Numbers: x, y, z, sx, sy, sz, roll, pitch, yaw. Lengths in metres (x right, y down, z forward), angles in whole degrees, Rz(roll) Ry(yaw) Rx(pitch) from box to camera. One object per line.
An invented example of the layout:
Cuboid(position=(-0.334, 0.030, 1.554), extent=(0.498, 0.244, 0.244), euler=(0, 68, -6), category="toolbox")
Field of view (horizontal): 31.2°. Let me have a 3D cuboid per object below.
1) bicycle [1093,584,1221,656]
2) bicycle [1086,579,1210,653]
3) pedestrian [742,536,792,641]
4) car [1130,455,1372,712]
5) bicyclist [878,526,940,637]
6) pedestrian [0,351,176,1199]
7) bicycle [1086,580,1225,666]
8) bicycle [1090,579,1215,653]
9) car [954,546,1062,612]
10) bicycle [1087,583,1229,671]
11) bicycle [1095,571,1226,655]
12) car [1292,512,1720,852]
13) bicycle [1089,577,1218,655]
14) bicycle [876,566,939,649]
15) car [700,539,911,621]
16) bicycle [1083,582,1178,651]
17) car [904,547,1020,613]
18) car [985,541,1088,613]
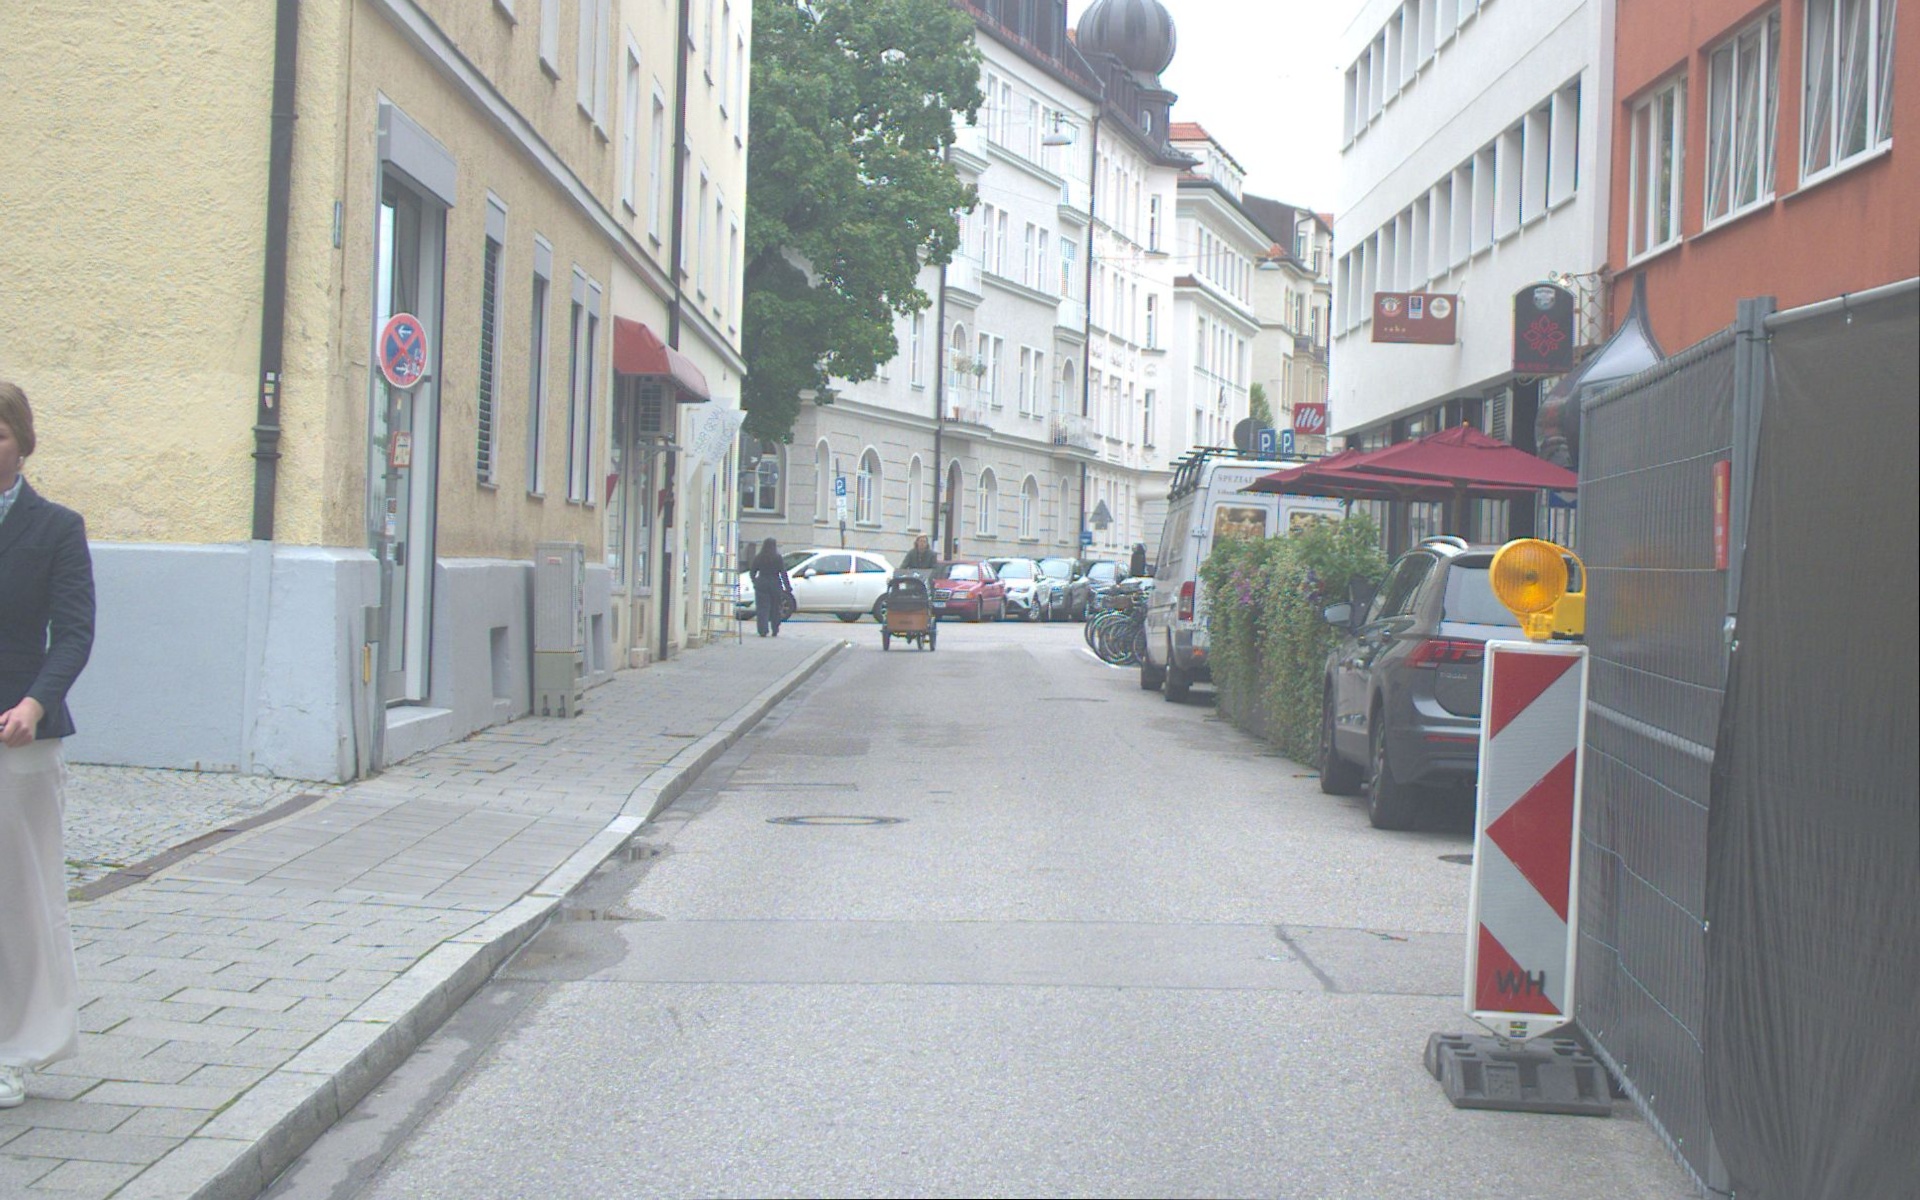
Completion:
Cuboid(position=(3.034, 0.311, 52.941), extent=(1.873, 1.048, 0.564), euler=(2, -1, -3), category="bicycle")
Cuboid(position=(2.956, 0.250, 54.078), extent=(1.873, 1.076, 0.408), euler=(2, 2, -3), category="bicycle")
Cuboid(position=(-3.080, -0.190, 54.933), extent=(0.693, 1.626, 0.663), euler=(3, 0, -1), category="pedestrian")
Cuboid(position=(3.097, -0.213, 37.842), extent=(1.920, 2.497, 5.997), euler=(3, 1, -1), category="car")
Cuboid(position=(-0.805, -0.295, 54.434), extent=(0.926, 1.715, 1.099), euler=(1, 1, 1), category="bicyclist")
Cuboid(position=(-2.332, 0.364, 7.895), extent=(0.775, 1.830, 0.991), euler=(2, 0, -1), category="pedestrian")
Cuboid(position=(2.793, 0.326, 49.134), extent=(1.873, 1.104, 0.488), euler=(4, 2, -2), category="bicycle")
Cuboid(position=(2.994, 0.246, 53.638), extent=(1.873, 1.076, 0.402), euler=(2, 2, -3), category="bicycle")
Cuboid(position=(1.186, -0.497, 82.416), extent=(1.994, 1.468, 4.217), euler=(2, 1, 8), category="car")
Cuboid(position=(2.775, 0.379, 48.217), extent=(1.873, 1.076, 0.488), euler=(4, 2, -2), category="bicycle")
Cuboid(position=(2.975, 0.195, 51.066), extent=(1.873, 1.200, 0.580), euler=(1, 1, -2), category="bicycle")
Cuboid(position=(3.102, 0.408, 20.390), extent=(1.824, 1.704, 4.389), euler=(3, 1, 1), category="car")
Cuboid(position=(2.941, 0.245, 52.238), extent=(1.873, 1.091, 0.440), euler=(2, 2, -3), category="bicycle")
Cuboid(position=(-0.815, 0.115, 54.119), extent=(0.932, 1.253, 2.414), euler=(1, 0, 0), category="bicycle")
Cuboid(position=(-3.118, -0.399, 69.169), extent=(3.757, 1.572, 2.000), euler=(1, 0, -23), category="car")
Cuboid(position=(2.801, 0.266, 56.553), extent=(1.450, 1.066, 0.463), euler=(3, 1, -7), category="bicycle")
Cuboid(position=(0.079, -0.444, 77.501), extent=(1.731, 1.373, 4.224), euler=(2, 1, 12), category="car")
Cuboid(position=(1.974, -0.591, 87.532), extent=(1.944, 1.696, 3.998), euler=(3, 1, 10), category="car")
